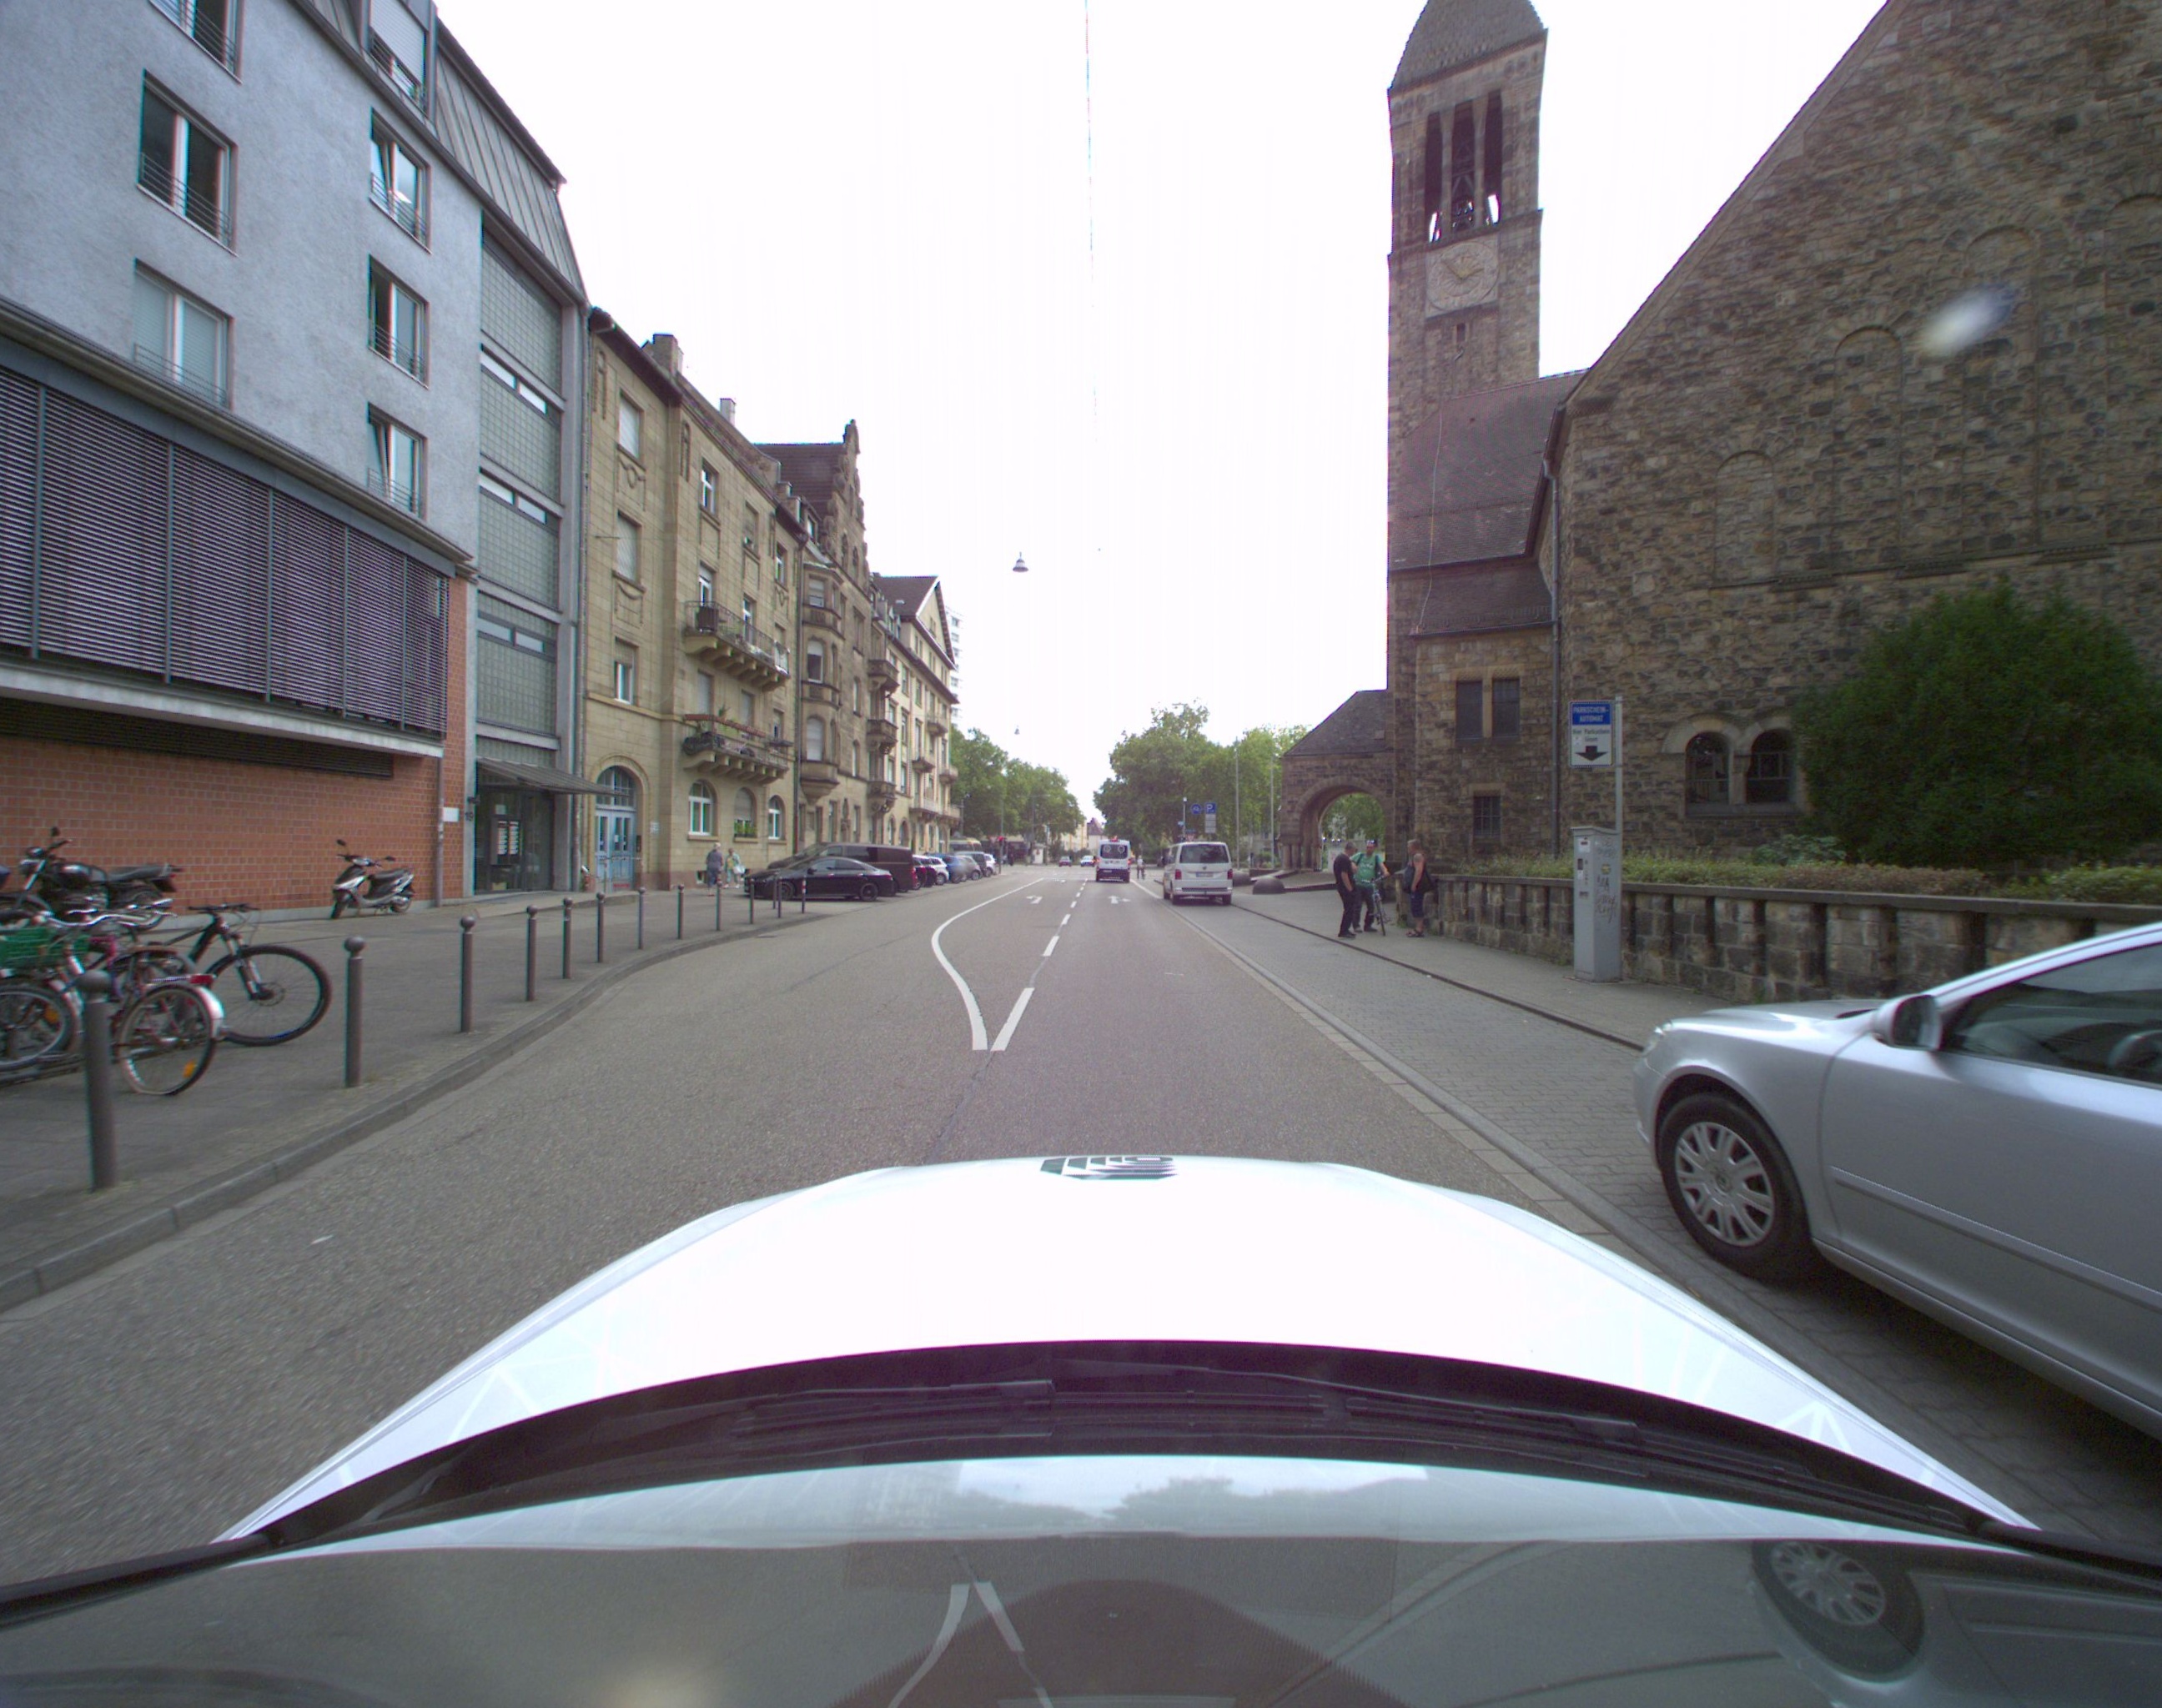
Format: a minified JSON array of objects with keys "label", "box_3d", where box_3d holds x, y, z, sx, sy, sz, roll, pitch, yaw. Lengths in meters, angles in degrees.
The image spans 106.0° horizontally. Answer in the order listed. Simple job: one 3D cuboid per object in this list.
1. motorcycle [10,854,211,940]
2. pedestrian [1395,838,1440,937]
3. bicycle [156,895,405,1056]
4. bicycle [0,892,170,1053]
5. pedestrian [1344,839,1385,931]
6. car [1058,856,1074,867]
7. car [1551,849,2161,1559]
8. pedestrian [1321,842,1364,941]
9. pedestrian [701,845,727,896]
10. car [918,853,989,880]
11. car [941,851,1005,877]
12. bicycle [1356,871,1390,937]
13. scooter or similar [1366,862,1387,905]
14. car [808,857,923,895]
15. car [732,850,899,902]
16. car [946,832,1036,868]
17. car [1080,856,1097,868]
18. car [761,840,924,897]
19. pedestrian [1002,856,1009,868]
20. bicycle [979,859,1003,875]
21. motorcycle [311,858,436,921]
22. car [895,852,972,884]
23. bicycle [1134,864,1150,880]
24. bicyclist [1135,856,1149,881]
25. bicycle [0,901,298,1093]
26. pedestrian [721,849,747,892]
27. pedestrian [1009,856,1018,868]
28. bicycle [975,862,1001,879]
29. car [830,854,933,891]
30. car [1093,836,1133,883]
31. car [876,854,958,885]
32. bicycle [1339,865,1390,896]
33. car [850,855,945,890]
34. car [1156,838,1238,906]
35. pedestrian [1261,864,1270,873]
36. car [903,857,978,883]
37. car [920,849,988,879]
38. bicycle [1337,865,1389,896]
[{"label":"motorcycle","box_3d":[-12.976,0.532,10.996,0.583,1.049,1.960,2,0,-10]},{"label":"pedestrian","box_3d":[5.987,0.590,14.491,0.509,1.720,0.528,1,-1,-20]},{"label":"bicycle","box_3d":[-5.812,0.864,5.939,1.400,1.038,0.402,3,-1,3]},{"label":"bicycle","box_3d":[-7.272,0.802,5.679,1.400,1.026,0.402,1,-1,3]},{"label":"pedestrian","box_3d":[5.418,0.576,15.562,0.532,1.720,0.505,1,-1,-21]},{"label":"car","box_3d":[-2.101,1.066,113.904,1.611,1.476,4.010,0,0,9]},{"label":"car","box_3d":[3.110,0.725,1.690,1.749,1.468,4.418,0,0,0]},{"label":"pedestrian","box_3d":[4.632,0.650,14.434,0.509,1.720,0.528,1,-1,-21]},{"label":"pedestrian","box_3d":[-11.133,0.498,24.710,0.651,1.545,0.506,1,-1,-18]},{"label":"car","box_3d":[-7.912,0.764,50.689,4.031,1.652,1.776,1,-1,-38]},{"label":"car","box_3d":[-7.520,0.710,56.814,4.031,1.774,1.776,1,-1,-38]},{"label":"bicycle","box_3d":[5.526,0.914,15.381,0.528,1.150,1.762,0,-1,22]},{"label":"scooter or similar","box_3d":[8.639,0.853,23.762,0.539,1.207,1.488,0,-1,21]},{"label":"car","box_3d":[-8.533,0.843,32.439,4.032,1.409,1.776,1,-1,-40]},{"label":"car","box_3d":[-8.506,0.725,26.319,4.692,1.409,1.879,4,-1,-38]},{"label":"car","box_3d":[-10.300,-0.455,92.971,9.794,3.915,3.475,0,-1,26]},{"label":"car","box_3d":[1.102,1.057,112.865,1.723,1.592,4.010,0,0,9]},{"label":"car","box_3d":[-8.596,0.525,29.528,5.290,1.910,2.099,1,-1,-33]},{"label":"pedestrian","box_3d":[-9.940,1.010,107.242,0.801,1.572,0.726,0,-1,15]},{"label":"bicycle","box_3d":[-7.095,1.035,64.272,1.859,1.167,0.500,2,-1,22]},{"label":"motorcycle","box_3d":[-12.702,0.602,14.696,0.581,1.049,1.794,2,0,2]},{"label":"car","box_3d":[-8.106,0.760,44.854,3.794,1.652,1.706,1,-1,-35]},{"label":"bicycle","box_3d":[4.224,1.248,56.366,0.900,1.075,1.969,1,-1,-1]},{"label":"bicyclist","box_3d":[4.233,0.984,56.466,0.901,1.683,0.756,1,-1,-2]},{"label":"bicycle","box_3d":[-5.755,0.860,5.045,1.400,1.038,0.402,3,-1,3]},{"label":"pedestrian","box_3d":[-12.144,0.559,28.536,0.658,1.485,0.509,1,-1,0]},{"label":"pedestrian","box_3d":[-8.845,1.011,107.016,0.922,1.514,0.726,0,-1,15]},{"label":"bicycle","box_3d":[-6.979,1.228,61.098,1.801,1.120,0.595,4,-1,5]},{"label":"car","box_3d":[-8.586,0.782,35.193,4.012,1.503,1.614,1,-1,-34]},{"label":"car","box_3d":[1.902,0.298,49.313,2.175,2.648,4.627,2,0,0]},{"label":"car","box_3d":[-8.312,0.770,41.393,3.701,1.481,1.723,1,-1,-35]},{"label":"bicycle","box_3d":[10.438,0.981,29.969,1.762,1.112,0.549,0,-1,20]},{"label":"car","box_3d":[-8.639,0.856,38.438,4.025,1.564,1.779,1,-1,-31]},{"label":"car","box_3d":[3.757,0.544,27.268,2.008,2.029,5.123,-1,0,0]},{"label":"pedestrian","box_3d":[25.800,1.973,113.855,1.086,1.236,1.443,-2,-2,6]},{"label":"car","box_3d":[-8.243,0.913,47.811,3.919,1.443,1.817,1,-1,-35]},{"label":"car","box_3d":[-8.267,0.643,53.204,4.031,1.879,1.776,1,-1,-38]},{"label":"bicycle","box_3d":[10.176,0.948,29.404,1.754,1.112,0.549,0,-1,20]}]
